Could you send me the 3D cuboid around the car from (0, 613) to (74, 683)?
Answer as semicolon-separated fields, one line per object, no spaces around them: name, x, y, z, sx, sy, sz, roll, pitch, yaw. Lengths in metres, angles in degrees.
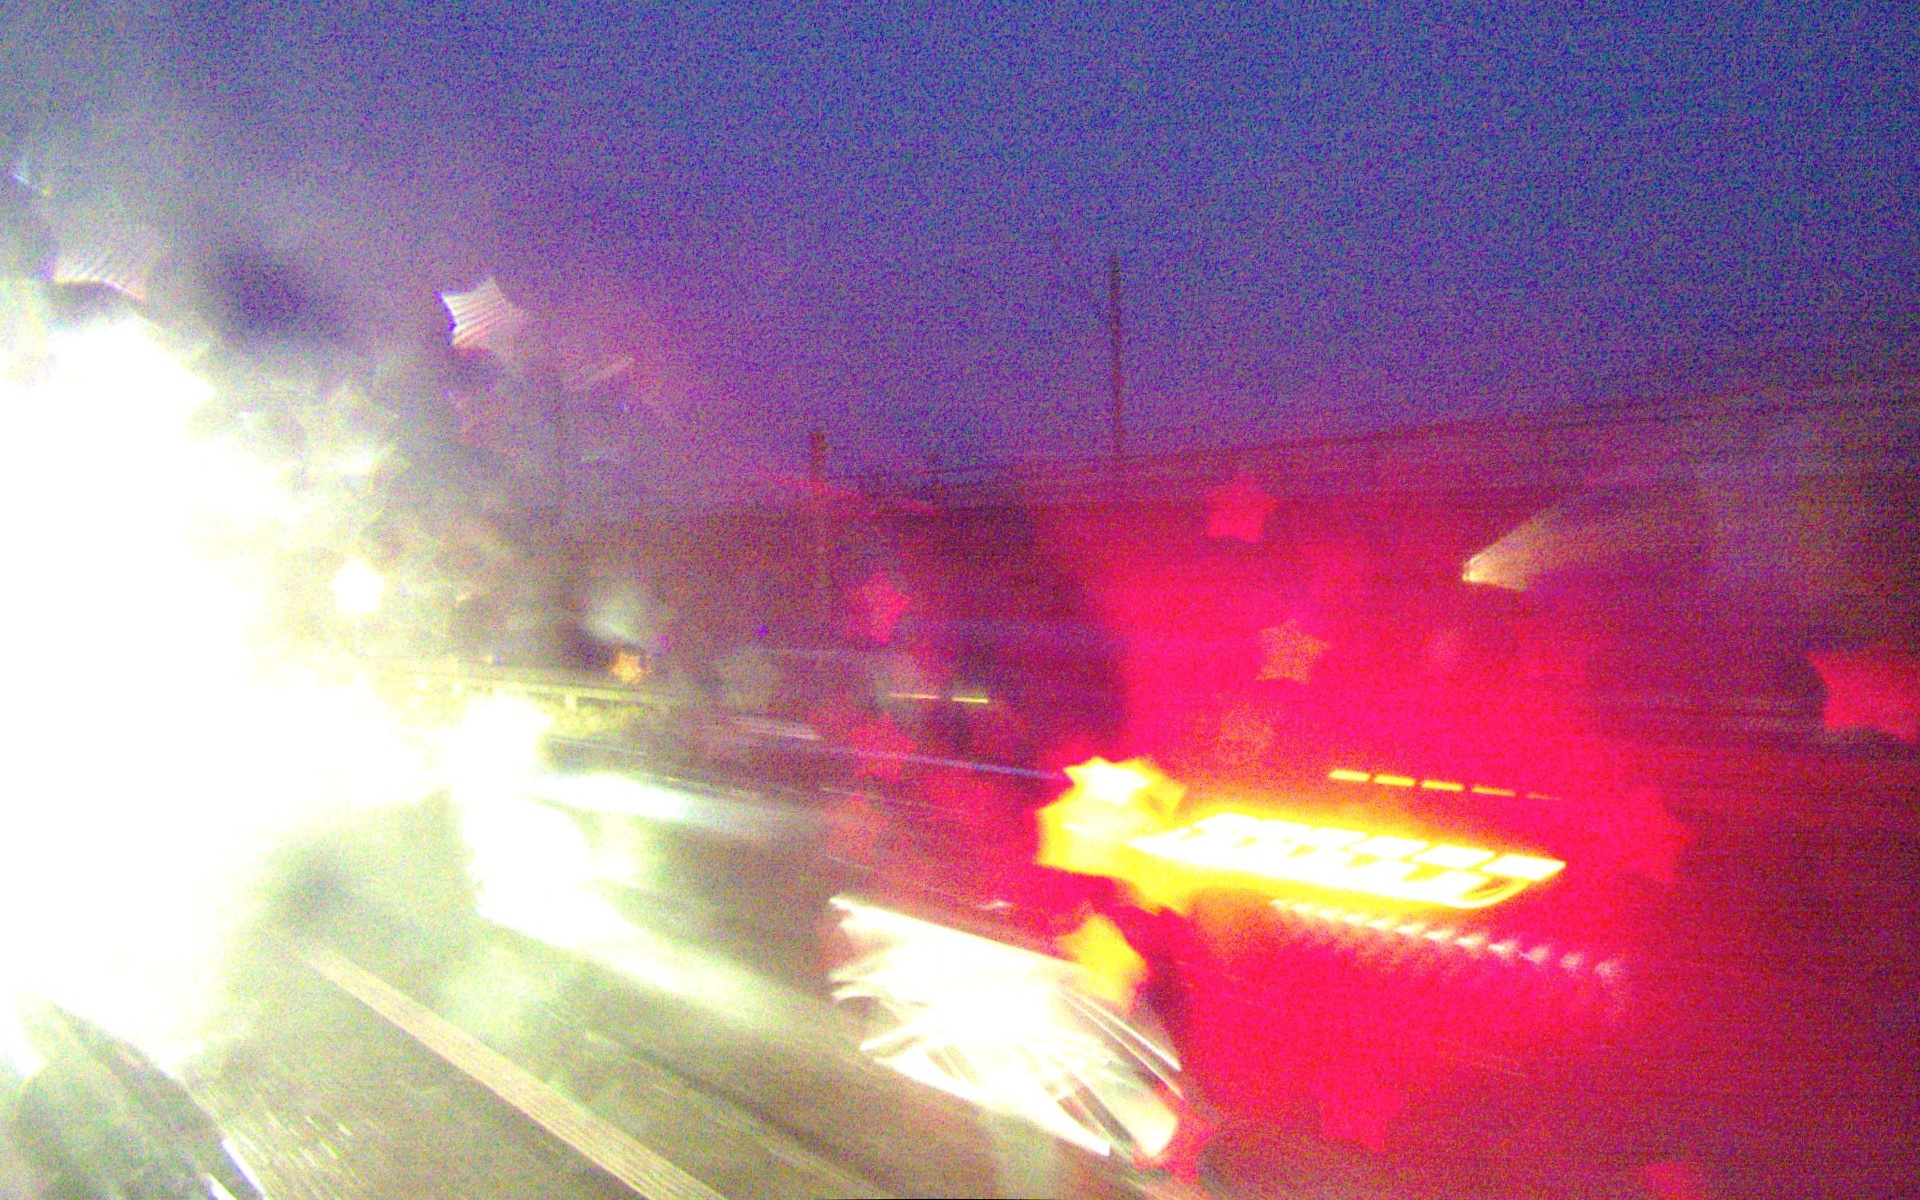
car;-22.963;1.130;24.412;4.254;1.557;1.819;-1;-1;41

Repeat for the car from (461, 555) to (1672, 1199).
car;0.011;0.664;3.863;4.272;1.481;1.884;-1;1;41
